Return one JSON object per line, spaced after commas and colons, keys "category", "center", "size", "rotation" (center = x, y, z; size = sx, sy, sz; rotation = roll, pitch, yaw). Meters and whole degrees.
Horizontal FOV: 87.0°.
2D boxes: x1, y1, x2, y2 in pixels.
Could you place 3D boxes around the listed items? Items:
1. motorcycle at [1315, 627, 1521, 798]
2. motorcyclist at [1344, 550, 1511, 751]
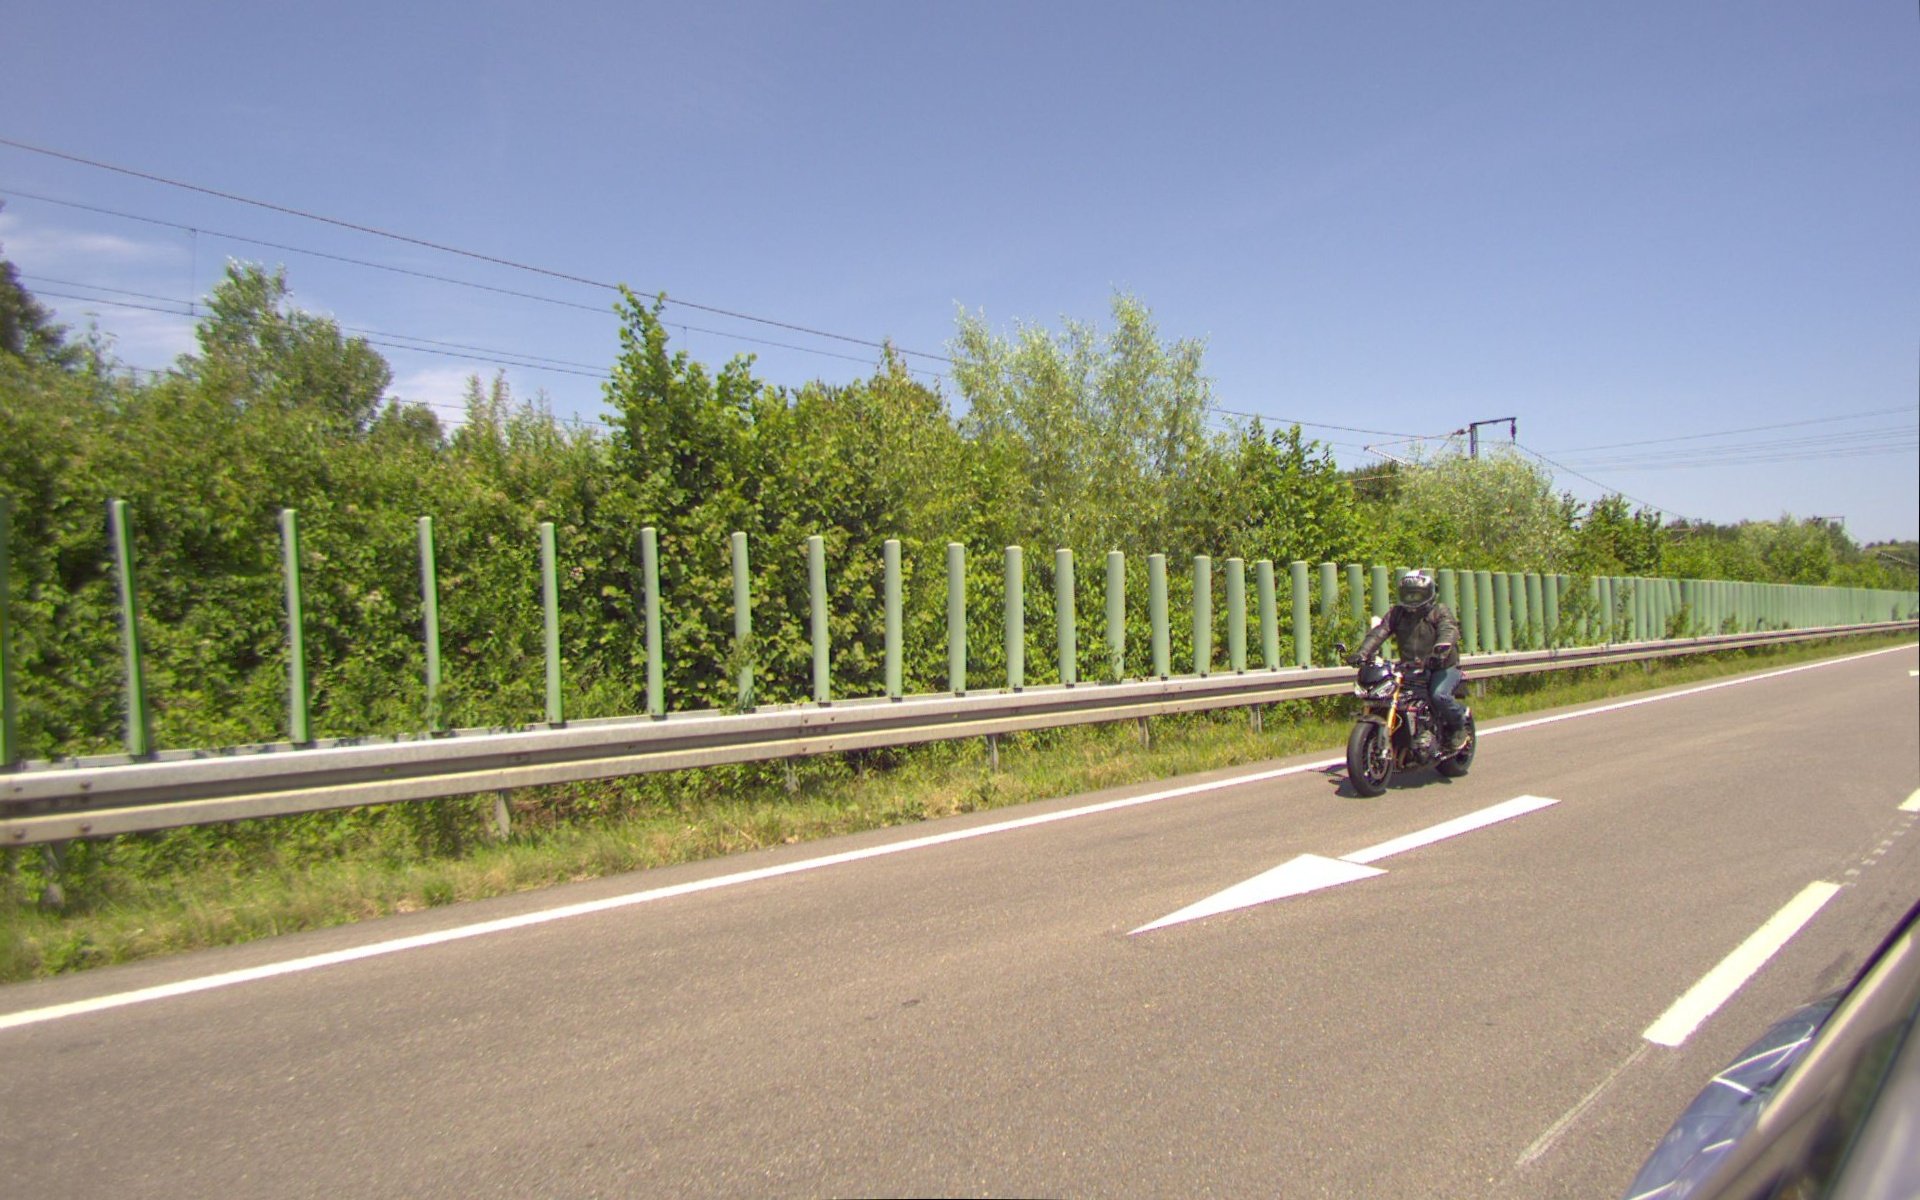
{"category": "motorcycle", "center": [3.707, 0.825, 8.119], "size": [1.868, 1.172, 0.791], "rotation": [0, -1, -41]}
{"category": "motorcyclist", "center": [3.779, 0.372, 8.186], "size": [0.984, 1.495, 0.891], "rotation": [0, 0, -40]}
